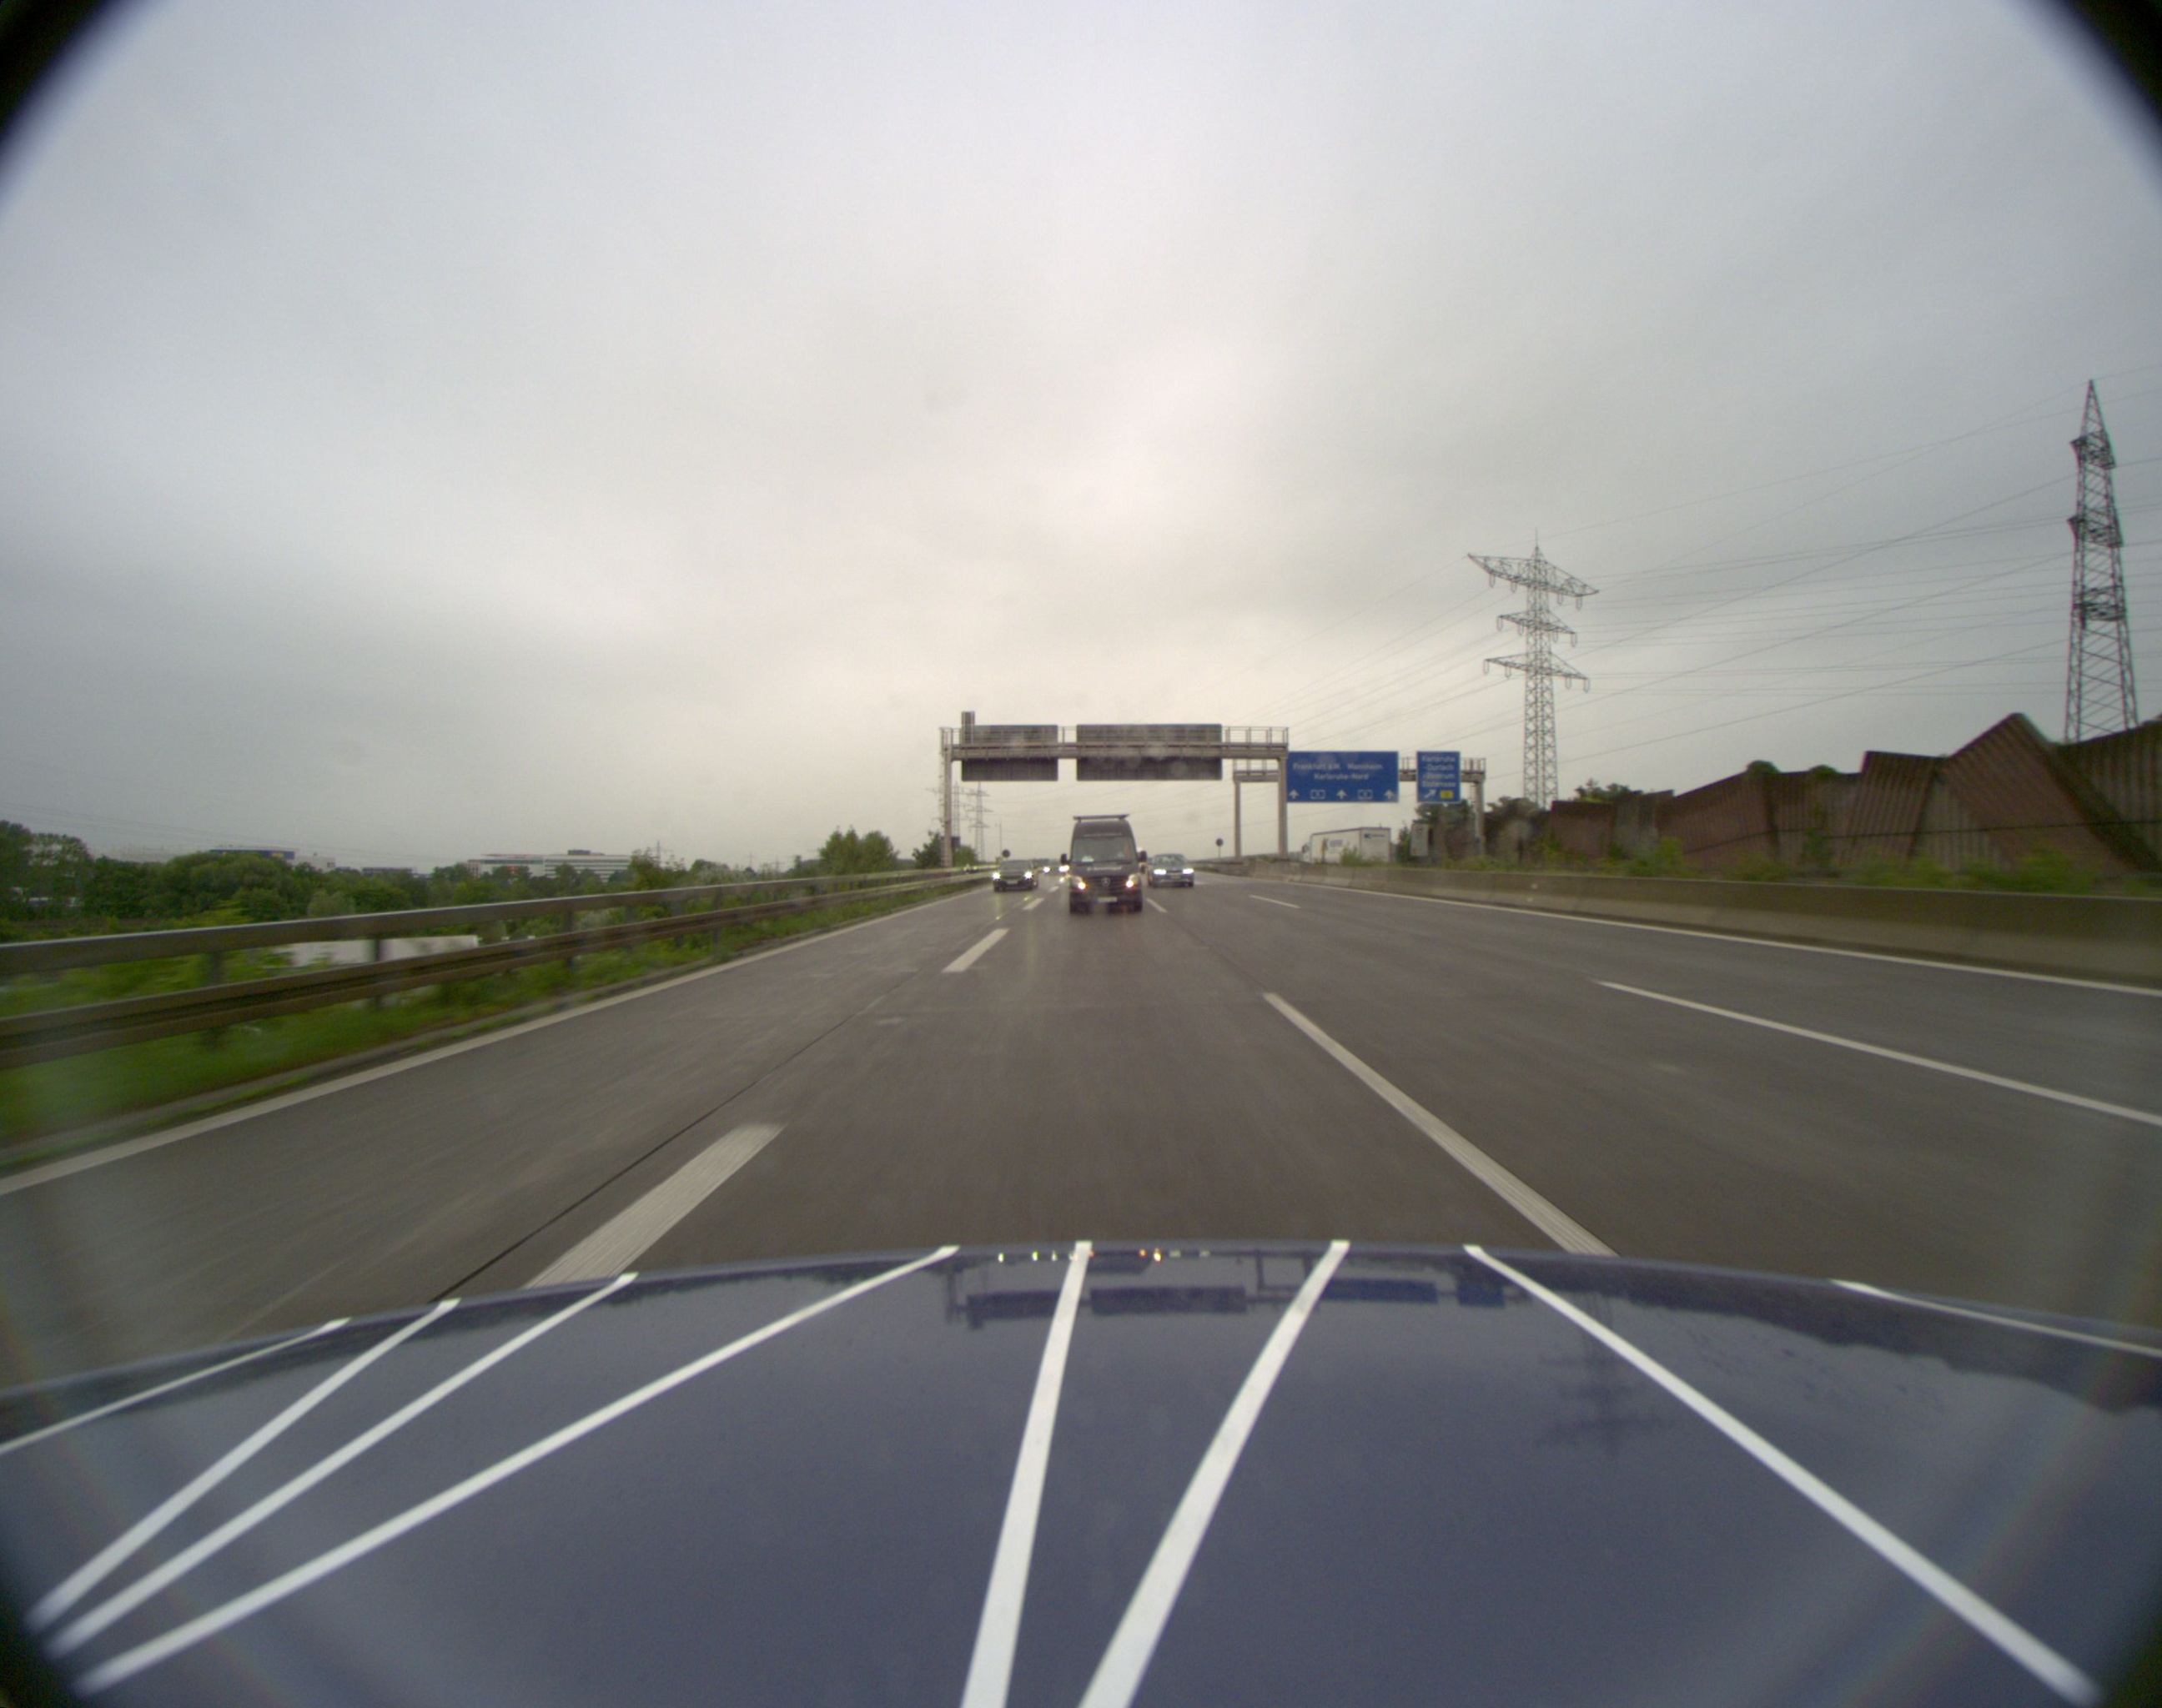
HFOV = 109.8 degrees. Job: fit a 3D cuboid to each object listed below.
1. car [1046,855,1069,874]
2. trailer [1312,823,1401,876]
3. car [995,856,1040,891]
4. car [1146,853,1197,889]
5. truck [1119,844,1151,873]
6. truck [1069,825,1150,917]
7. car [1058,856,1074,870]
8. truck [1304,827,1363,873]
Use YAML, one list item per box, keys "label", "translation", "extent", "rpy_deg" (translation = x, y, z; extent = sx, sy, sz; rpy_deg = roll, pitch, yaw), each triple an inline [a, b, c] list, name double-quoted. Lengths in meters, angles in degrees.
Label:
- label: "car"
  translation: [-2.169, 0.985, 70.308]
  extent: [1.998, 1.706, 4.000]
  rpy_deg: [1, 0, 0]
- label: "trailer"
  translation: [24.573, -0.355, 68.901]
  extent: [3.064, 4.161, 13.570]
  rpy_deg: [-2, 0, 0]
- label: "car"
  translation: [-3.091, 0.933, 37.568]
  extent: [1.862, 1.531, 4.203]
  rpy_deg: [-2, -1, -1]
- label: "car"
  translation: [4.352, 0.759, 37.209]
  extent: [1.843, 1.585, 5.155]
  rpy_deg: [-2, 0, 0]
- label: "truck"
  translation: [4.947, 0.380, 70.153]
  extent: [2.243, 2.464, 6.582]
  rpy_deg: [-2, 0, -1]
- label: "truck"
  translation: [0.678, 0.429, 22.499]
  extent: [1.999, 2.324, 6.110]
  rpy_deg: [-1, 0, -1]
- label: "car"
  translation: [-1.982, 1.154, 99.379]
  extent: [1.998, 1.706, 4.000]
  rpy_deg: [1, 0, 0]
- label: "truck"
  translation: [24.644, -0.352, 74.699]
  extent: [3.064, 4.162, 7.887]
  rpy_deg: [-2, 0, 0]
